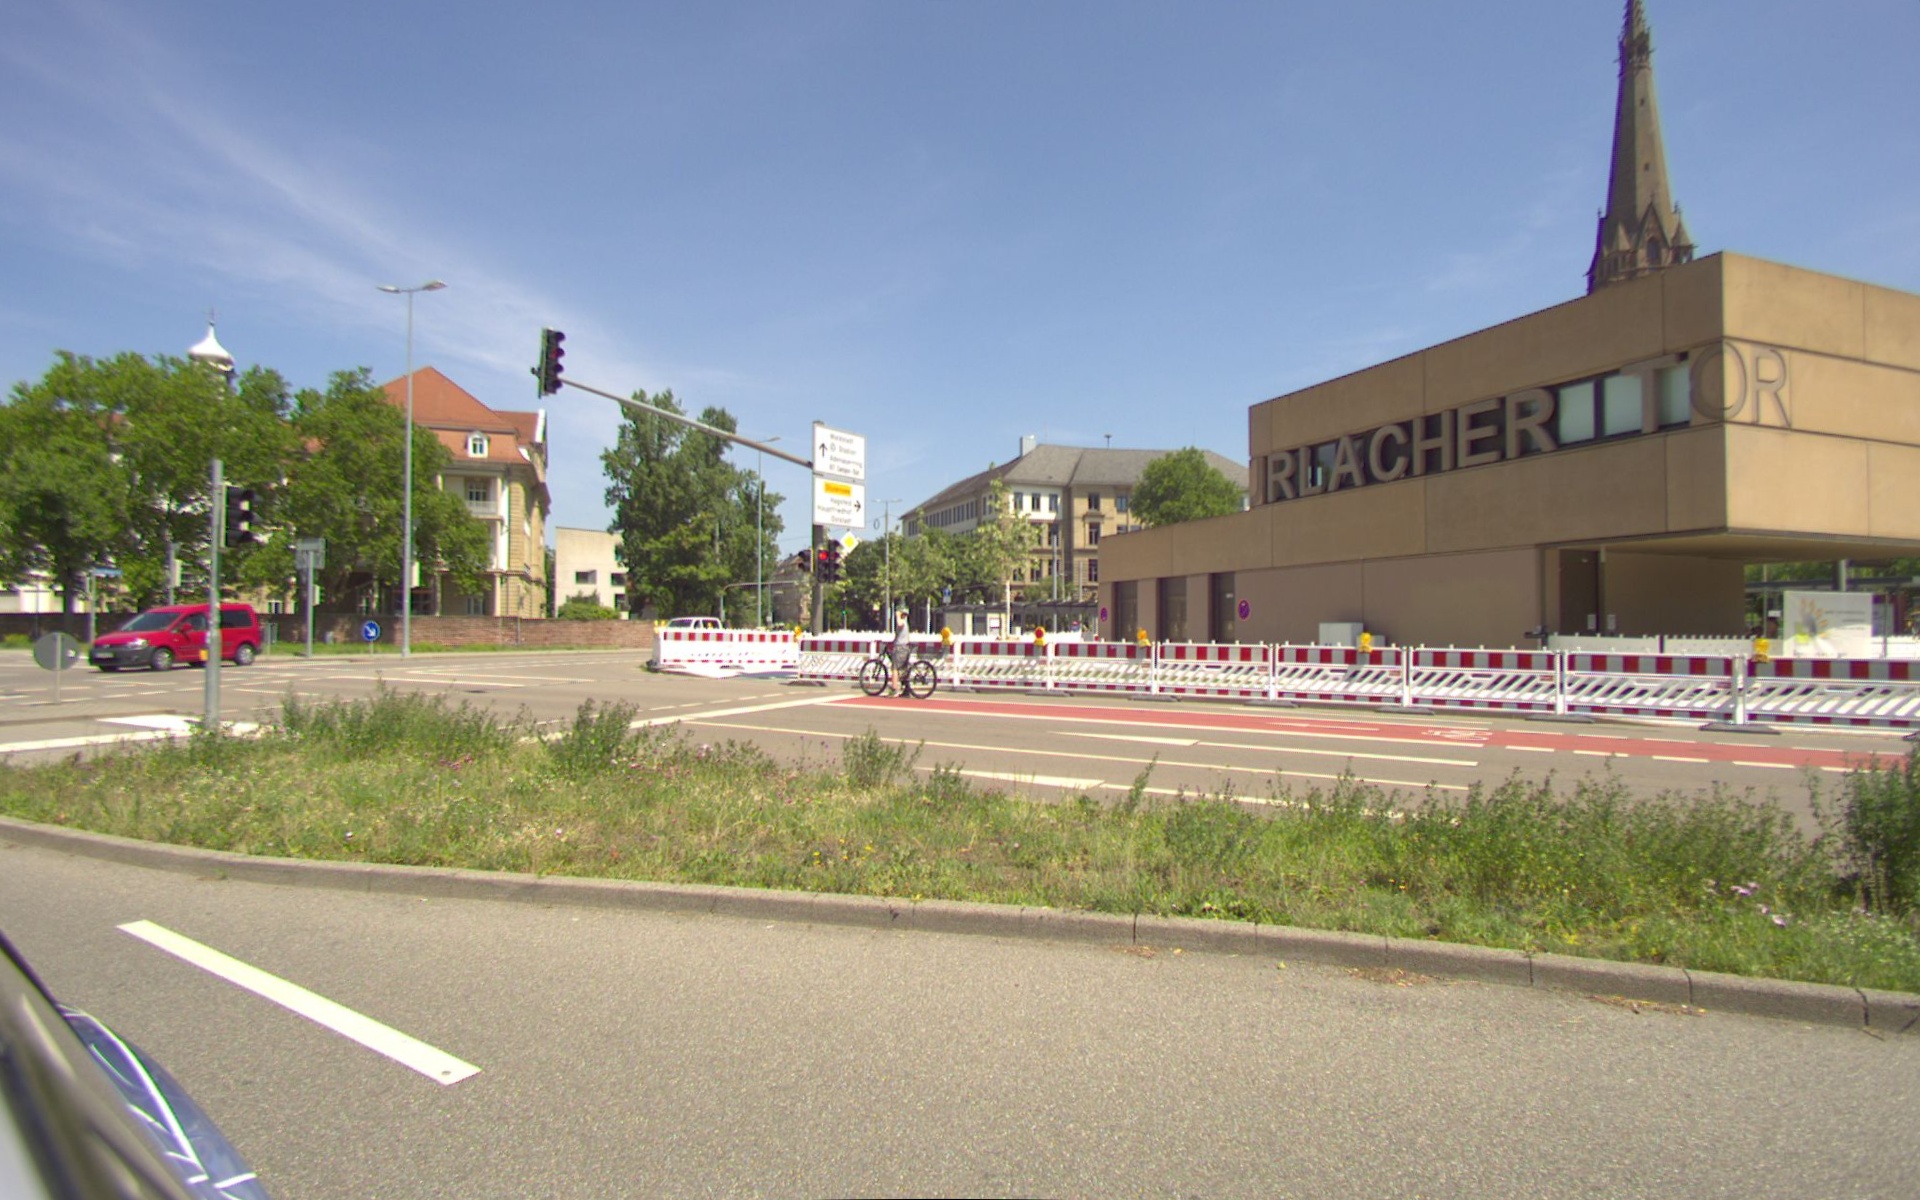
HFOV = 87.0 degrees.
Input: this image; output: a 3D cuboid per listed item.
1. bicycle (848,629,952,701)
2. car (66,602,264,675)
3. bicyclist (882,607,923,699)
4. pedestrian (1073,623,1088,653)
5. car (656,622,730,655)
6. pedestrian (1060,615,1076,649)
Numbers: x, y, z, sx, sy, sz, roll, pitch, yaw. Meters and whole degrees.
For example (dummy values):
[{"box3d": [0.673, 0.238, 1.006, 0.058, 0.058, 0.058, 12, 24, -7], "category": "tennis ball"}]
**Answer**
[{"box3d": [-1.070, 1.122, 17.871, 1.892, 1.189, 0.518, 0, -1, 32], "category": "bicycle"}, {"box3d": [-21.751, 1.064, 27.930, 1.813, 1.780, 4.268, -2, -2, 8], "category": "car"}, {"box3d": [-1.011, 0.922, 17.842, 0.497, 1.591, 0.525, 0, -1, 32], "category": "bicyclist"}, {"box3d": [7.187, 2.274, 60.587, 0.531, 1.769, 0.661, -1, -3, -30], "category": "pedestrian"}, {"box3d": [-15.135, 2.160, 57.665, 1.914, 1.808, 5.008, -1, -2, 14], "category": "car"}, {"box3d": [6.305, 1.874, 58.985, 0.681, 1.920, 0.579, -1, -3, -22], "category": "pedestrian"}]
